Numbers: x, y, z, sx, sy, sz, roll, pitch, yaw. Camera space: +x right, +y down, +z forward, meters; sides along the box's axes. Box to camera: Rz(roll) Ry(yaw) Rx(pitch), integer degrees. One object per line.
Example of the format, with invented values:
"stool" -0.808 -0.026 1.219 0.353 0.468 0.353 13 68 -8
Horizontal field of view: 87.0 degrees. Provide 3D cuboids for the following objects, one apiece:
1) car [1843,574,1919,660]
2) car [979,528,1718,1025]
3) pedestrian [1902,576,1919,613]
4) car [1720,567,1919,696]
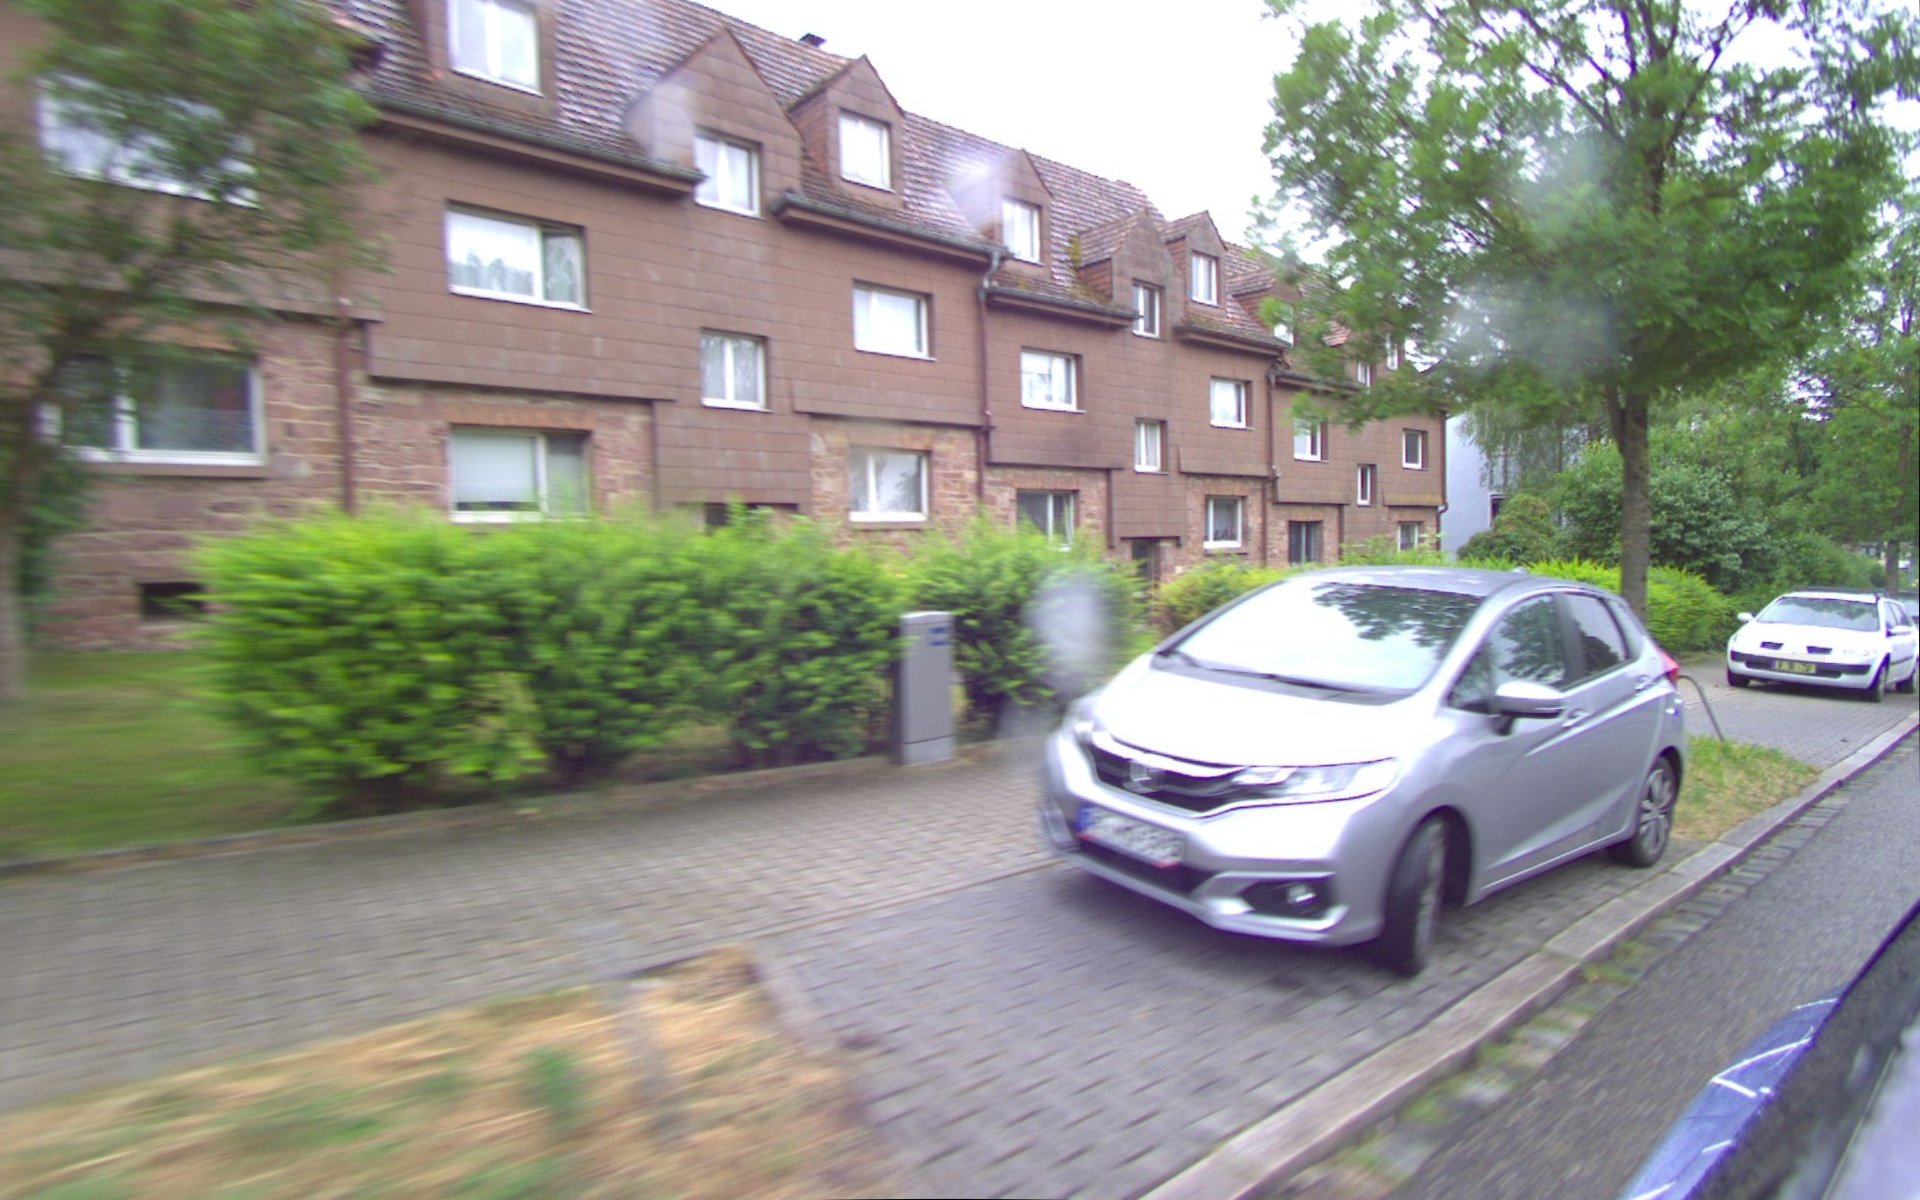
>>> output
"car" 21.143 0.343 22.363 4.505 1.698 1.828 0 3 -41
"car" 2.098 0.504 5.020 3.762 1.546 1.674 0 4 -38
"pedestrian" 43.841 -0.250 46.473 0.641 1.700 0.710 0 2 -35
"car" 13.340 0.388 15.285 4.391 1.622 1.830 0 3 -38
